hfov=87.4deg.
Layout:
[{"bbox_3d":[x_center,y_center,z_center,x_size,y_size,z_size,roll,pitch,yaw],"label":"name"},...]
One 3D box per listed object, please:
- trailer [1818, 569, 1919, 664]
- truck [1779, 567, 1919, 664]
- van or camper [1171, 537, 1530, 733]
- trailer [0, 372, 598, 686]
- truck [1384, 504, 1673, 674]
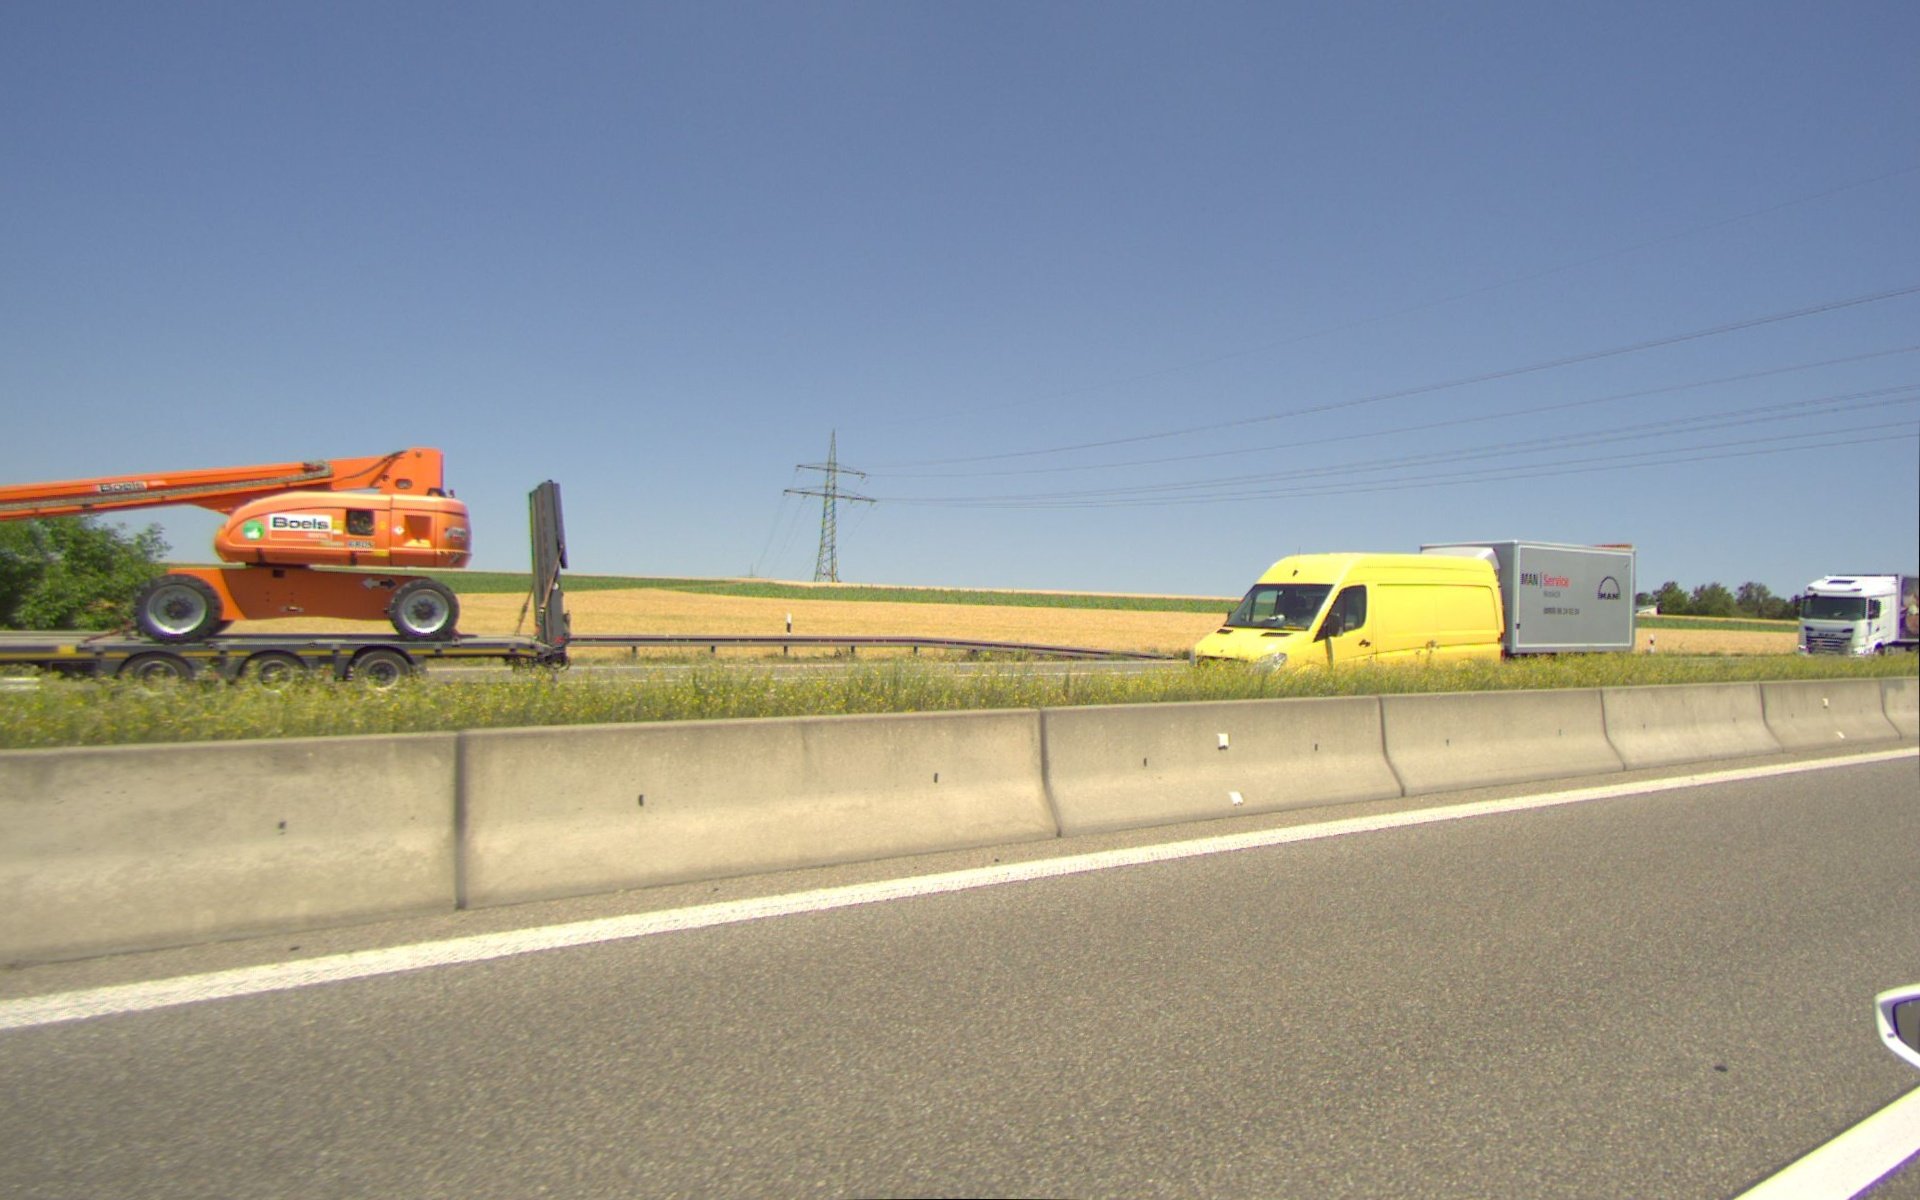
[{"bbox_3d":[46.211,0.895,48.217,13.832,4.160,2.782,2,0,-28],"label":"trailer"},{"bbox_3d":[39.870,0.729,44.797,6.433,4.081,2.841,2,0,-28],"label":"truck"},{"bbox_3d":[6.488,0.547,16.414,6.065,2.743,2.075,1,0,-30],"label":"van or camper"},{"bbox_3d":[-12.534,-0.906,14.311,13.567,4.011,2.825,2,0,-30],"label":"trailer"},{"bbox_3d":[14.624,-0.193,25.659,7.687,3.793,2.922,1,0,-30],"label":"truck"}]
